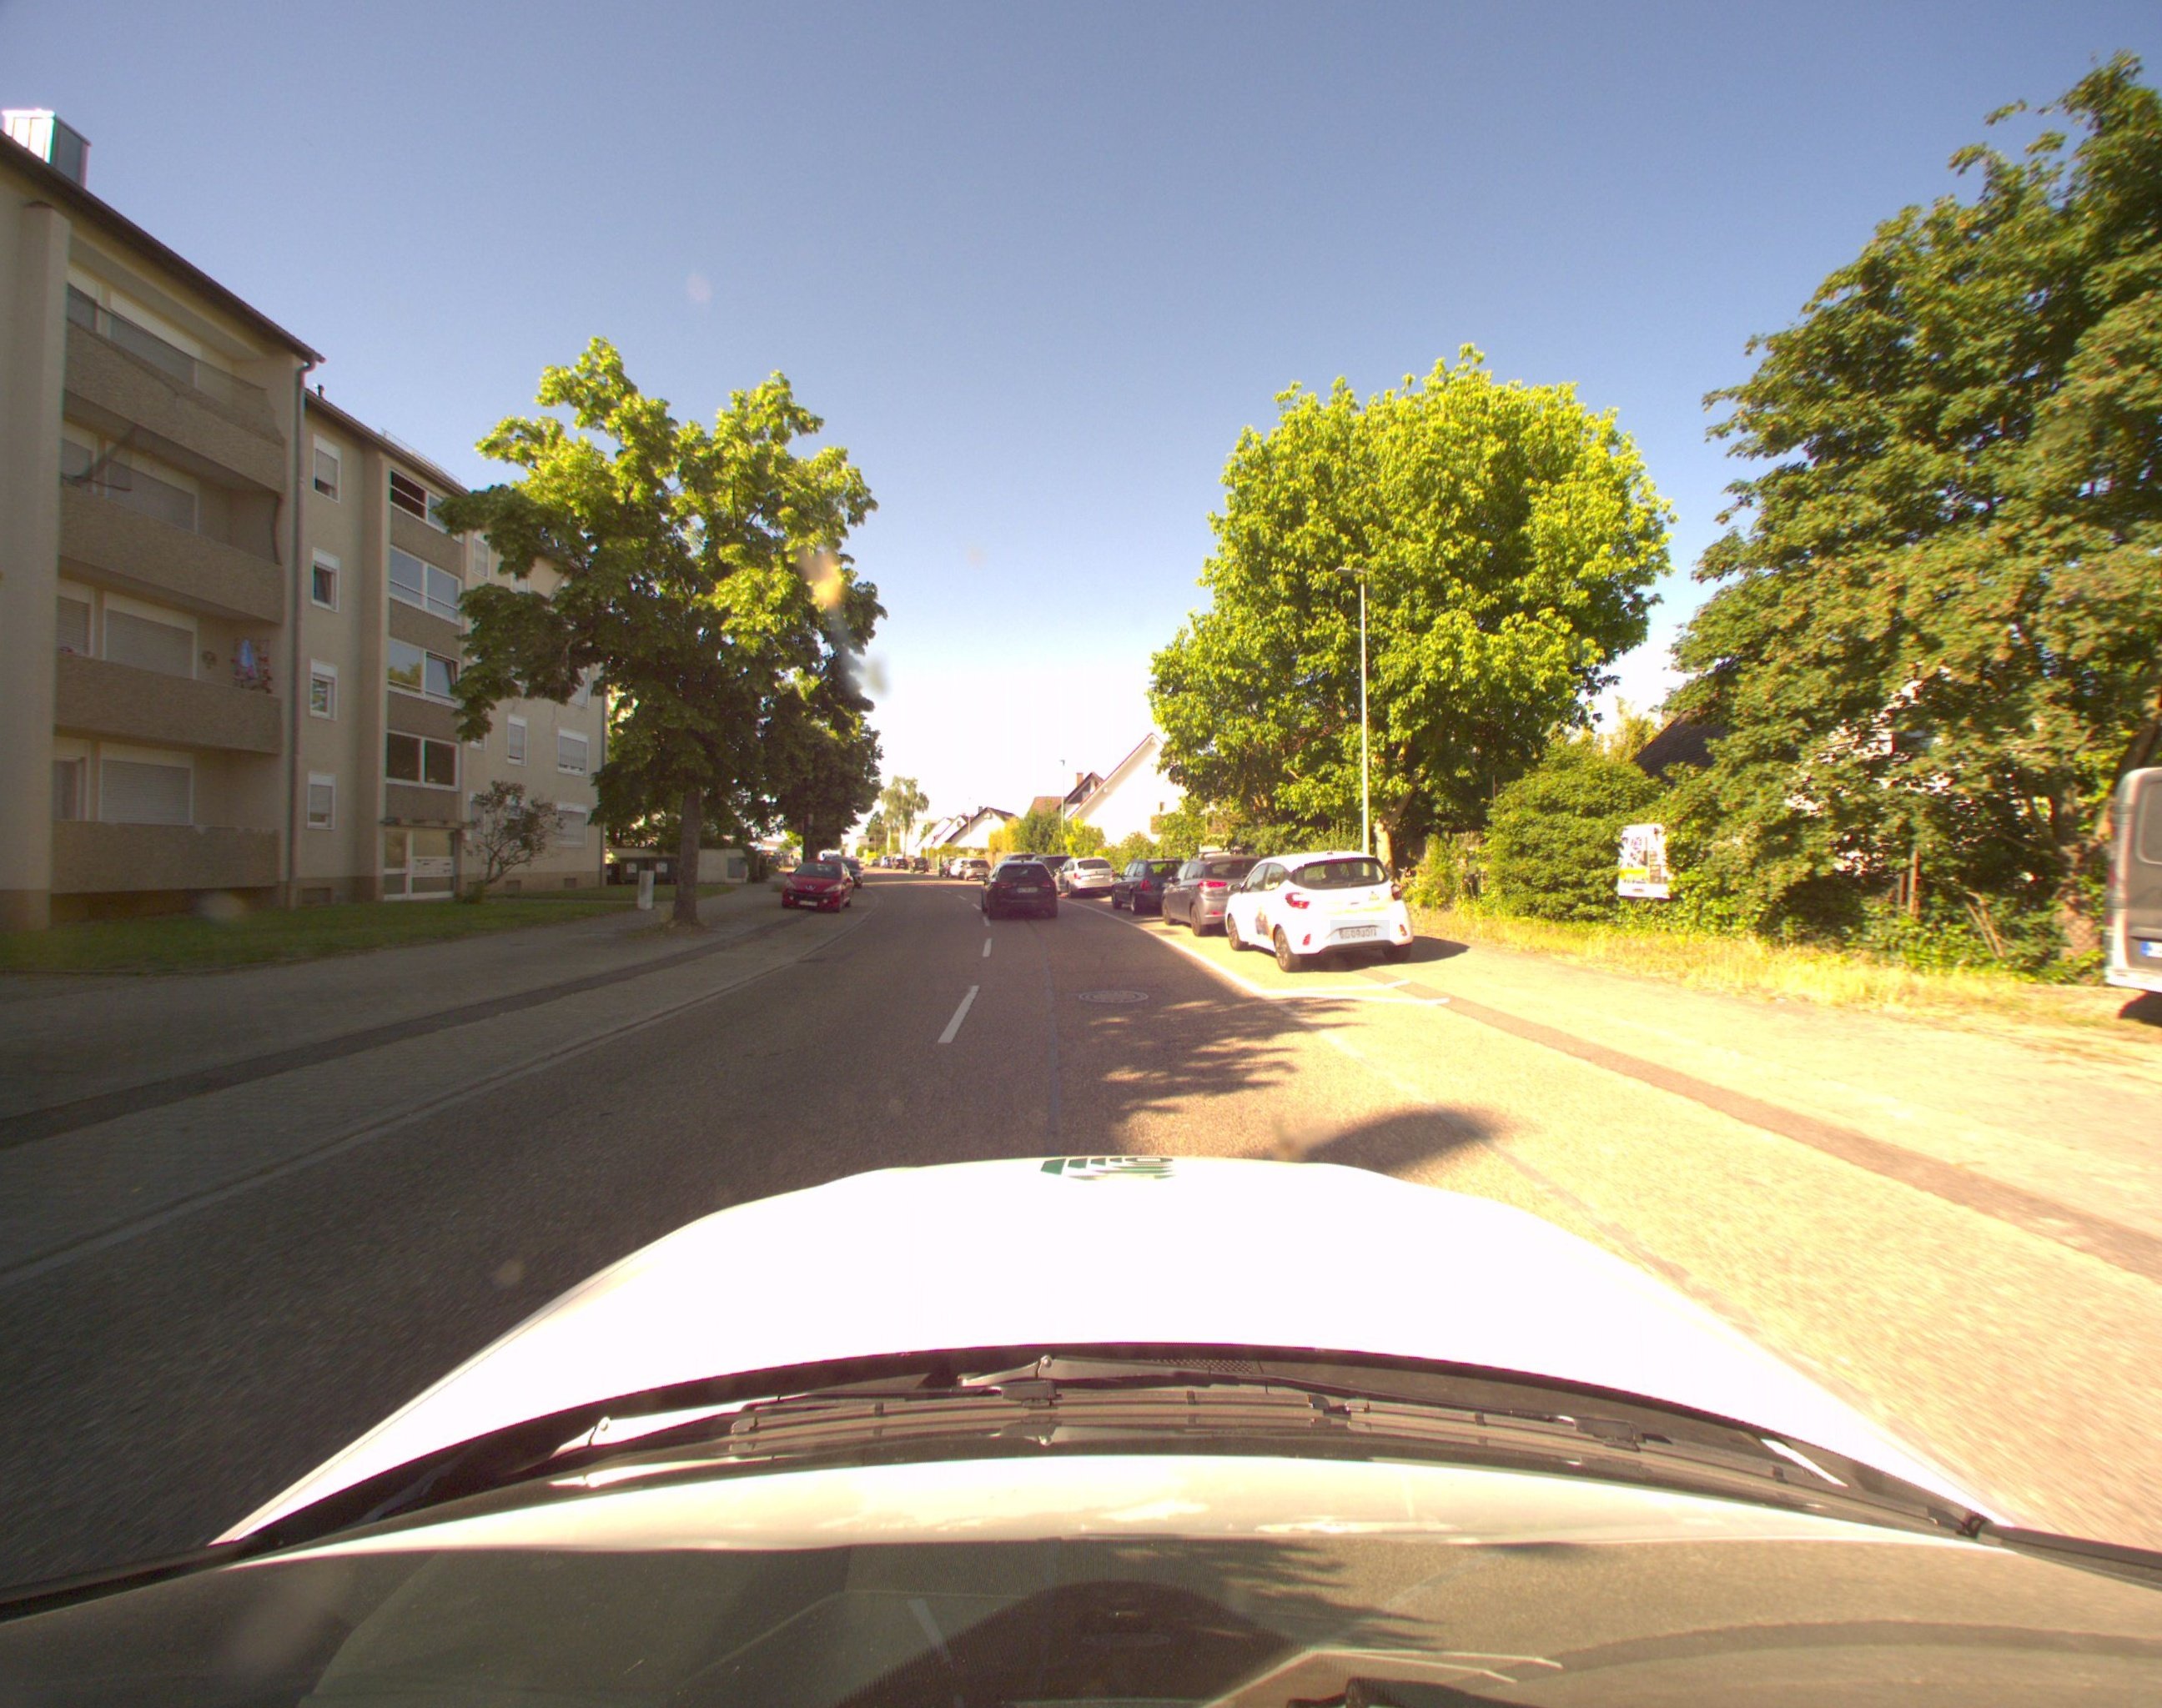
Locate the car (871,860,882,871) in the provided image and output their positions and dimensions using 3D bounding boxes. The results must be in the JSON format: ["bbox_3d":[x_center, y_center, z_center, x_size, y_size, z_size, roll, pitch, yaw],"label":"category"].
[{"bbox_3d":[-37.706,2.146,150.242,1.753,2.014,3.927,0,-3,-17],"label":"car"}]

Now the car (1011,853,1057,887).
[{"bbox_3d":[-2.536,0.839,42.976,1.903,1.666,4.175,0,-1,-10],"label":"car"}]

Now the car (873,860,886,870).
[{"bbox_3d":[-35.904,2.005,145.190,2.011,1.724,4.267,0,-1,-18],"label":"car"}]

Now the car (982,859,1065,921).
[{"bbox_3d":[-1.651,0.903,21.949,1.762,1.491,4.275,1,-1,-10],"label":"car"}]

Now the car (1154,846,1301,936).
[{"bbox_3d":[2.866,0.682,16.935,1.908,1.600,4.286,-1,0,-5],"label":"car"}]

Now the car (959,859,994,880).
[{"bbox_3d":[-7.147,1.049,55.236,1.918,1.407,4.274,0,-1,-13],"label":"car"}]

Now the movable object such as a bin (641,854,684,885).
[{"bbox_3d":[-19.892,0.742,38.733,1.517,1.428,1.084,0,-3,-9],"label":"movable object such as a bin"}]

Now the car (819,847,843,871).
[{"bbox_3d":[-26.147,0.506,85.364,1.908,2.170,4.270,7,-2,-14],"label":"car"}]

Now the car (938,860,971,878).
[{"bbox_3d":[-10.290,1.230,65.906,1.922,1.407,4.266,0,-1,-19],"label":"car"}]

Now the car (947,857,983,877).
[{"bbox_3d":[-8.785,0.974,61.498,1.922,1.407,4.266,0,-1,-19],"label":"car"}]

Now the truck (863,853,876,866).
[{"bbox_3d":[-43.232,1.175,166.346,2.211,2.600,5.112,0,-3,-18],"label":"truck"}]

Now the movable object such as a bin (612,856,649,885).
[{"bbox_3d":[-21.282,0.781,38.515,1.171,1.321,1.084,0,-3,-8],"label":"movable object such as a bin"}]

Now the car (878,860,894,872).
[{"bbox_3d":[-29.612,1.797,123.534,2.011,1.724,4.267,0,-1,-18],"label":"car"}]

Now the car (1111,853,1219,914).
[{"bbox_3d":[2.180,0.768,22.412,2.004,1.475,4.282,0,-1,-8],"label":"car"}]

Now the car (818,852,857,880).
[{"bbox_3d":[-16.723,0.823,56.031,1.834,1.630,4.277,7,-2,-9],"label":"car"}]

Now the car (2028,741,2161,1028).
[{"bbox_3d":[9.722,0.180,5.092,4.652,1.984,2.148,-1,-1,9],"label":"car"}]

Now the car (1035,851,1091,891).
[{"bbox_3d":[-0.884,0.758,36.989,2.005,1.724,4.281,0,-1,-9],"label":"car"}]

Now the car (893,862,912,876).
[{"bbox_3d":[-23.051,1.927,105.066,2.011,1.724,4.267,0,-1,-18],"label":"car"}]

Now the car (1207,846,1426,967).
[{"bbox_3d":[3.283,0.684,12.310,1.758,1.480,4.286,-1,-1,-5],"label":"car"}]

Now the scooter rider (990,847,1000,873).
[{"bbox_3d":[-6.846,0.481,64.856,0.687,2.014,0.815,0,-3,-18],"label":"scooter rider"}]

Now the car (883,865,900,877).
[{"bbox_3d":[-27.598,2.430,118.352,2.011,1.724,4.267,0,-1,-18],"label":"car"}]

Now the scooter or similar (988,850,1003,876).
[{"bbox_3d":[-6.835,0.751,64.862,0.687,2.014,2.945,0,-3,-16],"label":"scooter or similar"}]

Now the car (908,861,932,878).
[{"bbox_3d":[-17.130,1.603,86.311,2.011,1.724,4.267,0,-1,-18],"label":"car"}]

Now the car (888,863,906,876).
[{"bbox_3d":[-25.017,2.113,110.780,2.011,1.724,4.267,0,-1,-18],"label":"car"}]

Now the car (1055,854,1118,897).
[{"bbox_3d":[0.125,0.823,31.671,1.819,1.534,4.246,0,-1,-9],"label":"car"}]

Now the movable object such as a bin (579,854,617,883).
[{"bbox_3d":[-22.688,0.704,38.263,1.171,1.321,1.084,0,-3,-8],"label":"movable object such as a bin"}]

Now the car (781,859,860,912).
[{"bbox_3d":[-8.051,0.937,25.541,1.688,1.491,4.277,1,-1,-9],"label":"car"}]
